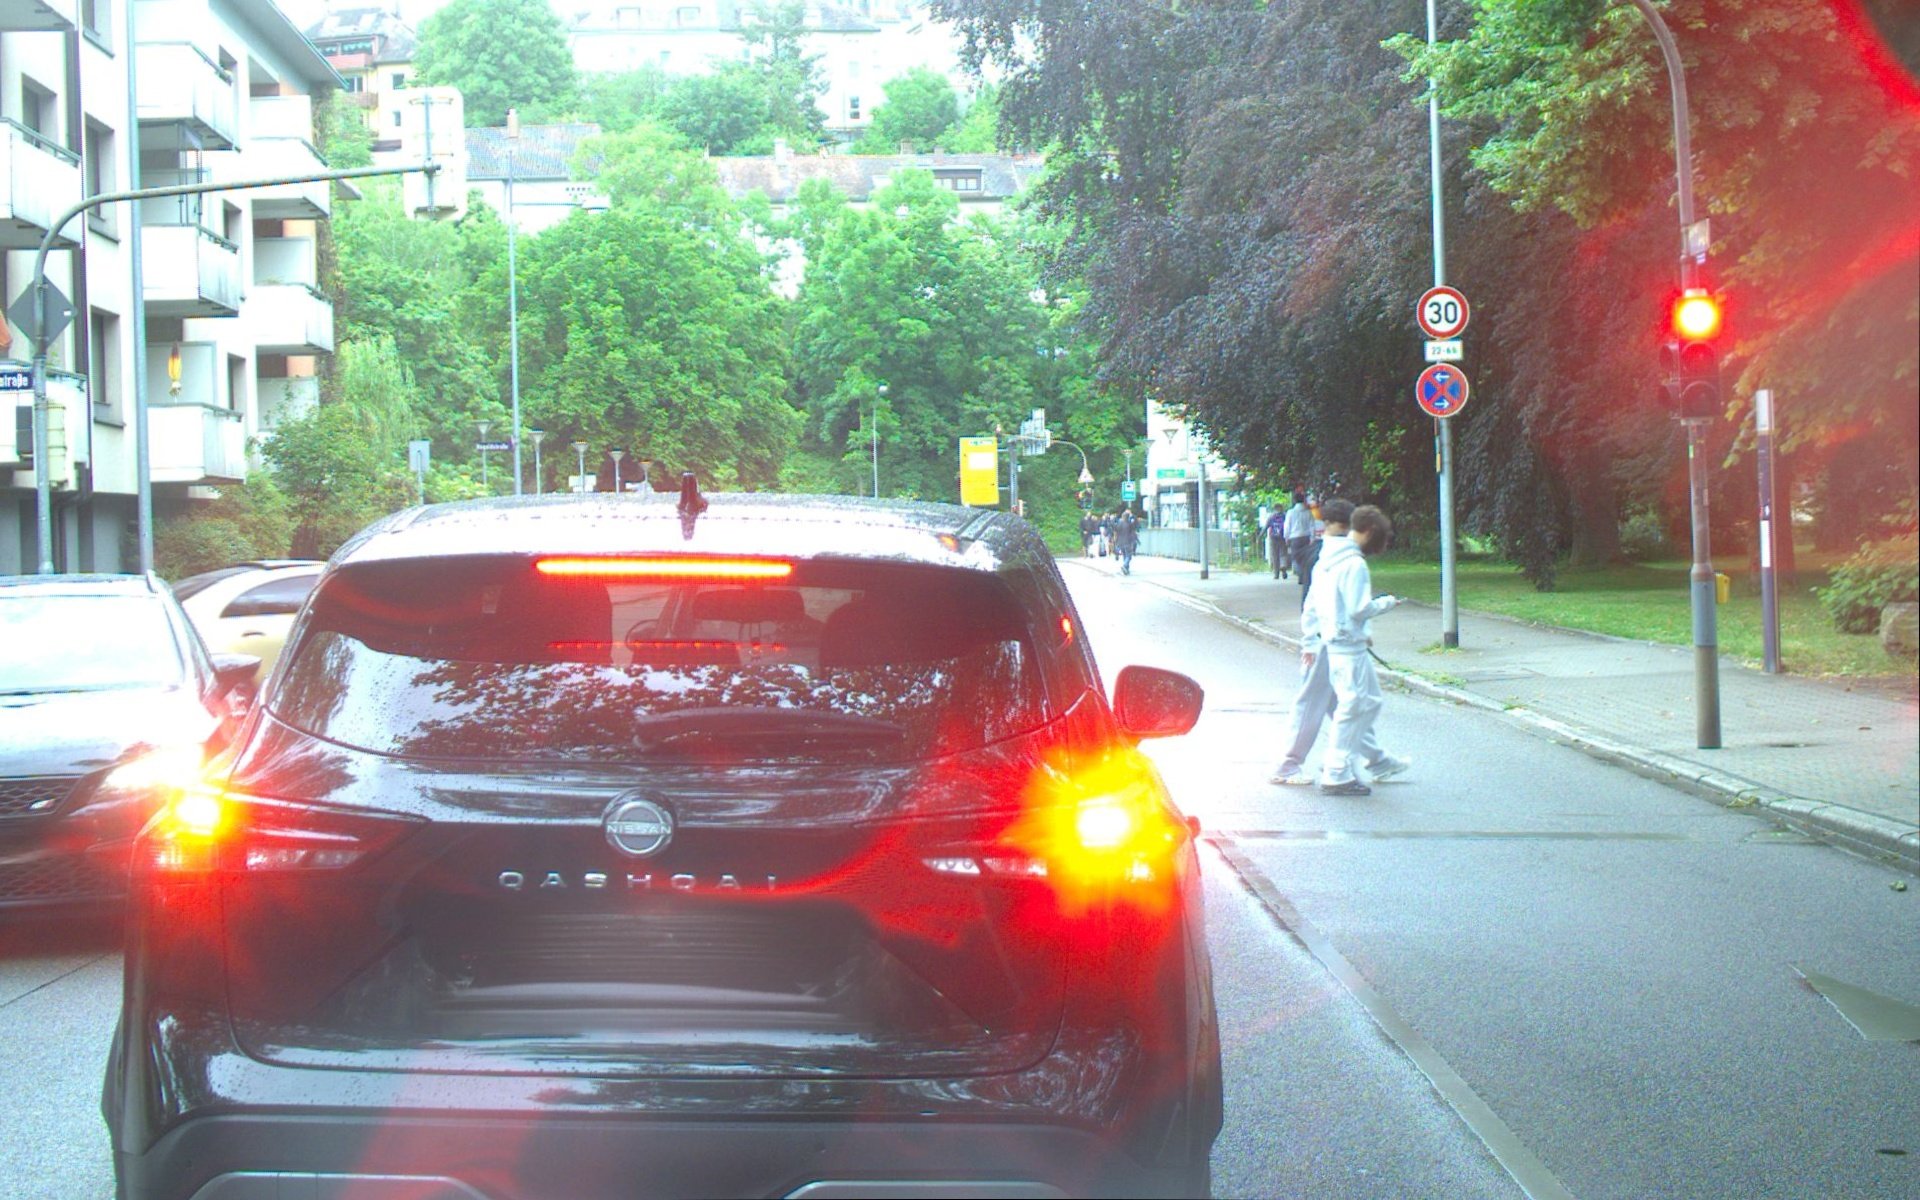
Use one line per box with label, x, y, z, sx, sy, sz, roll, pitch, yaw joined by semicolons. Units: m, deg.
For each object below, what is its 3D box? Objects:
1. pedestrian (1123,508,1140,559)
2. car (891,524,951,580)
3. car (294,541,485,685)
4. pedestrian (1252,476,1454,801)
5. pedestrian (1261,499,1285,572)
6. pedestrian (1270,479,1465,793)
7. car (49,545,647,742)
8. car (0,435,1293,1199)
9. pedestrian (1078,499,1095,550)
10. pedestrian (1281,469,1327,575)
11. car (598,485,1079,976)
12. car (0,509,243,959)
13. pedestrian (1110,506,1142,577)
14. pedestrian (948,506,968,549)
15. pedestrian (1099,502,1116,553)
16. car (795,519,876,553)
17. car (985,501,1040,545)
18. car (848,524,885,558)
pedestrian;6.075;-2.371;121.930;0.508;1.796;0.619;-2;1;-2
car;-1.131;-1.393;98.640;1.634;1.527;3.968;-2;1;-1
car;-6.642;0.112;40.353;1.795;1.528;3.868;-2;1;-4
pedestrian;2.342;0.212;20.530;1.035;1.869;0.658;-2;4;-11
pedestrian;6.471;-1.332;71.179;0.390;1.497;0.559;-2;1;0
pedestrian;2.518;0.205;21.283;1.035;1.869;0.658;-2;4;-11
car;-5.197;0.330;29.364;4.635;1.399;1.832;-3;1;-30
car;-0.493;0.557;7.003;1.913;1.674;4.000;0;1;0
pedestrian;4.511;-2.688;122.656;0.508;1.796;0.619;-2;1;-1
pedestrian;6.647;-1.501;66.498;0.725;2.007;0.851;-2;1;0
car;-0.463;0.439;14.411;1.698;1.739;3.641;-2;1;-1
car;-4.046;0.485;14.615;1.845;1.620;4.139;-3;1;-11
pedestrian;4.300;-1.515;89.047;0.508;1.796;0.619;-3;1;-25
pedestrian;-0.083;-2.863;135.138;0.509;1.667;0.658;-2;1;27
pedestrian;5.232;-2.575;121.901;0.508;1.796;0.659;-2;1;1
car;-6.039;-3.127;167.605;1.638;1.527;3.958;-1;2;41
car;2.144;-3.117;139.627;1.994;1.729;3.999;1;1;4
car;-4.393;-2.816;162.668;1.634;1.527;3.968;-2;1;-1
